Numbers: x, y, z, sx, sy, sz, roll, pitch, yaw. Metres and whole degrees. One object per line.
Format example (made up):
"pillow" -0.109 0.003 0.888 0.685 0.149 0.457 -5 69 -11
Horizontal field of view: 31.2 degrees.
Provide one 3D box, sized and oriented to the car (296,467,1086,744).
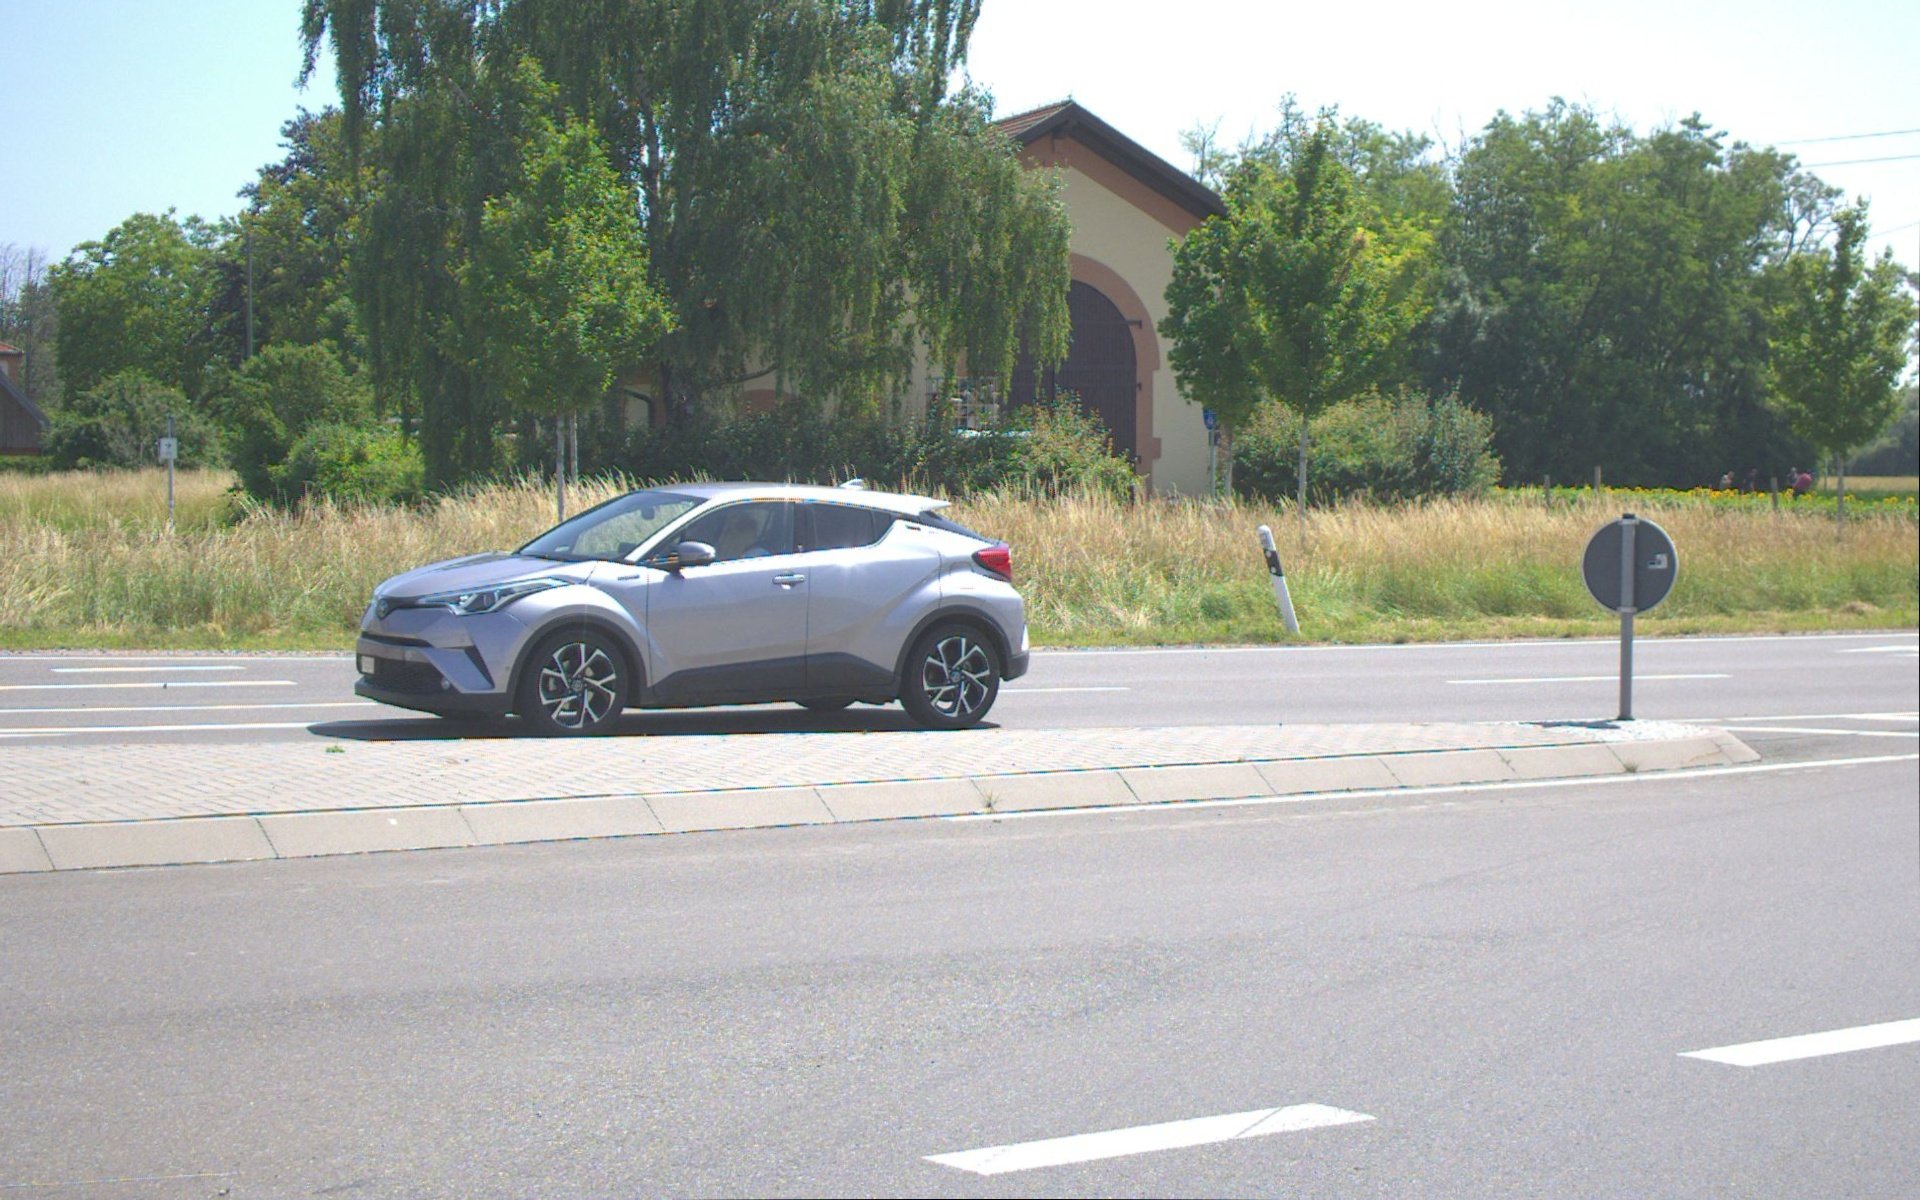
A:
"car" -1.643 -0.016 21.454 4.536 1.538 1.872 0 3 -31
